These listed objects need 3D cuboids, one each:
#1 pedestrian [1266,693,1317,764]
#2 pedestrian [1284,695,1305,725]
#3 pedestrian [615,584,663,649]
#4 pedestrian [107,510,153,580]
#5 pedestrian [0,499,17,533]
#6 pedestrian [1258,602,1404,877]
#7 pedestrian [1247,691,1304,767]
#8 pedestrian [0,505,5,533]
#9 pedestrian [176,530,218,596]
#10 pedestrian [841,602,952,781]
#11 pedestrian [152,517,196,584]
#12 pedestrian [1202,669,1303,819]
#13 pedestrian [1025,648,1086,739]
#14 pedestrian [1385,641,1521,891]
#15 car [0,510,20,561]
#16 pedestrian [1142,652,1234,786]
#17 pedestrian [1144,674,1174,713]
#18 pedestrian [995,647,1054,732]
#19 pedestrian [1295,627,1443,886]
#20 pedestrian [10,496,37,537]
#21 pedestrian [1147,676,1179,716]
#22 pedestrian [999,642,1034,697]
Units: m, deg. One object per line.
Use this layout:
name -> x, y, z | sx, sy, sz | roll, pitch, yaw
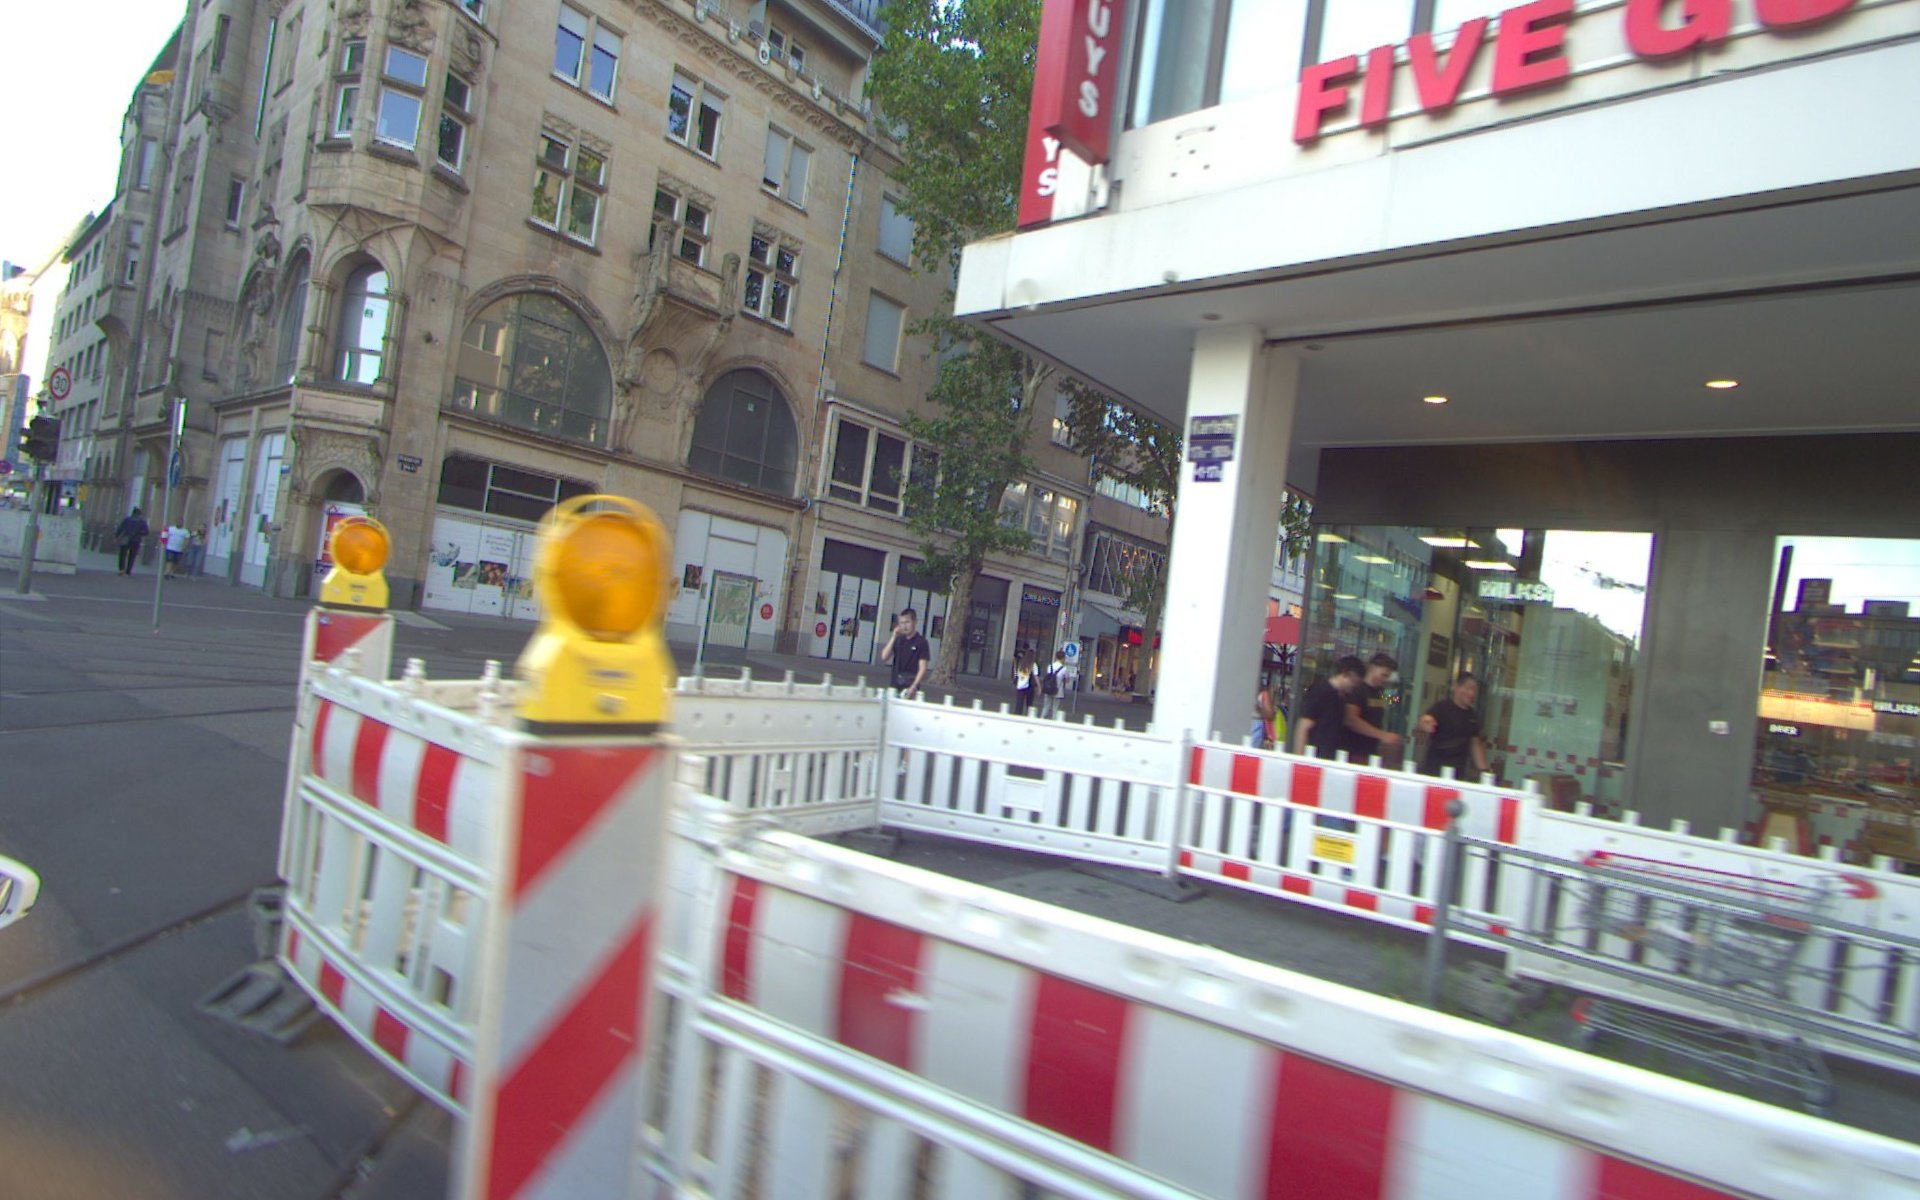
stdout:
pedestrian -> 7.045, 2.736, 21.385 | 0.681, 1.384, 0.642 | 7, -3, 41
pedestrian -> 19.972, 6.576, 60.122 | 0.822, 1.628, 0.662 | 7, -3, 41
pedestrian -> -8.902, 0.455, 27.901 | 0.703, 1.628, 0.819 | 7, -3, 41
pedestrian -> -21.636, -1.425, 26.227 | 0.661, 1.709, 0.625 | 7, -1, 40
pedestrian -> -54.418, -4.780, 57.381 | 0.661, 1.821, 0.643 | 7, -1, 40
pedestrian -> 2.926, 1.083, 7.953 | 0.697, 2.035, 0.470 | 9, -2, -18
pedestrian -> 6.360, 2.600, 20.279 | 0.681, 1.384, 0.776 | 7, -3, 41
pedestrian -> -59.934, -5.081, 62.491 | 0.661, 1.766, 0.643 | 7, -1, 40
pedestrian -> -21.221, -1.027, 27.970 | 0.617, 1.709, 0.625 | 7, -1, 40
pedestrian -> -0.674, 0.986, 10.820 | 0.659, 1.788, 0.724 | 7, -3, 28
pedestrian -> -21.212, -1.339, 27.150 | 0.661, 1.709, 0.625 | 7, -1, 40
pedestrian -> 3.727, 1.826, 12.797 | 0.762, 1.753, 0.788 | 7, -3, 41
pedestrian -> 1.981, 1.945, 20.890 | 0.703, 1.753, 0.776 | 7, -3, 41
pedestrian -> 4.293, 1.421, 8.775 | 0.695, 2.035, 0.471 | 9, -2, -7
car -> -30.249, -2.152, 30.789 | 3.622, 1.440, 1.679 | 6, -4, 42
pedestrian -> 3.072, 1.600, 13.518 | 0.703, 1.648, 0.824 | 7, -3, 41
pedestrian -> 8.173, 3.840, 41.311 | 0.772, 1.430, 0.776 | 7, -3, 41
pedestrian -> 1.393, 1.918, 21.573 | 0.716, 1.679, 0.776 | 7, -3, 41
pedestrian -> 3.454, 1.299, 8.524 | 0.768, 2.035, 0.517 | 9, -2, -7
pedestrian -> -41.857, -3.711, 44.949 | 0.661, 1.709, 0.643 | 7, -1, 40
pedestrian -> 8.041, 3.794, 39.886 | 0.768, 1.430, 0.781 | 7, -3, 41
pedestrian -> 2.045, 2.503, 36.384 | 0.703, 1.842, 0.776 | 7, -3, 41
